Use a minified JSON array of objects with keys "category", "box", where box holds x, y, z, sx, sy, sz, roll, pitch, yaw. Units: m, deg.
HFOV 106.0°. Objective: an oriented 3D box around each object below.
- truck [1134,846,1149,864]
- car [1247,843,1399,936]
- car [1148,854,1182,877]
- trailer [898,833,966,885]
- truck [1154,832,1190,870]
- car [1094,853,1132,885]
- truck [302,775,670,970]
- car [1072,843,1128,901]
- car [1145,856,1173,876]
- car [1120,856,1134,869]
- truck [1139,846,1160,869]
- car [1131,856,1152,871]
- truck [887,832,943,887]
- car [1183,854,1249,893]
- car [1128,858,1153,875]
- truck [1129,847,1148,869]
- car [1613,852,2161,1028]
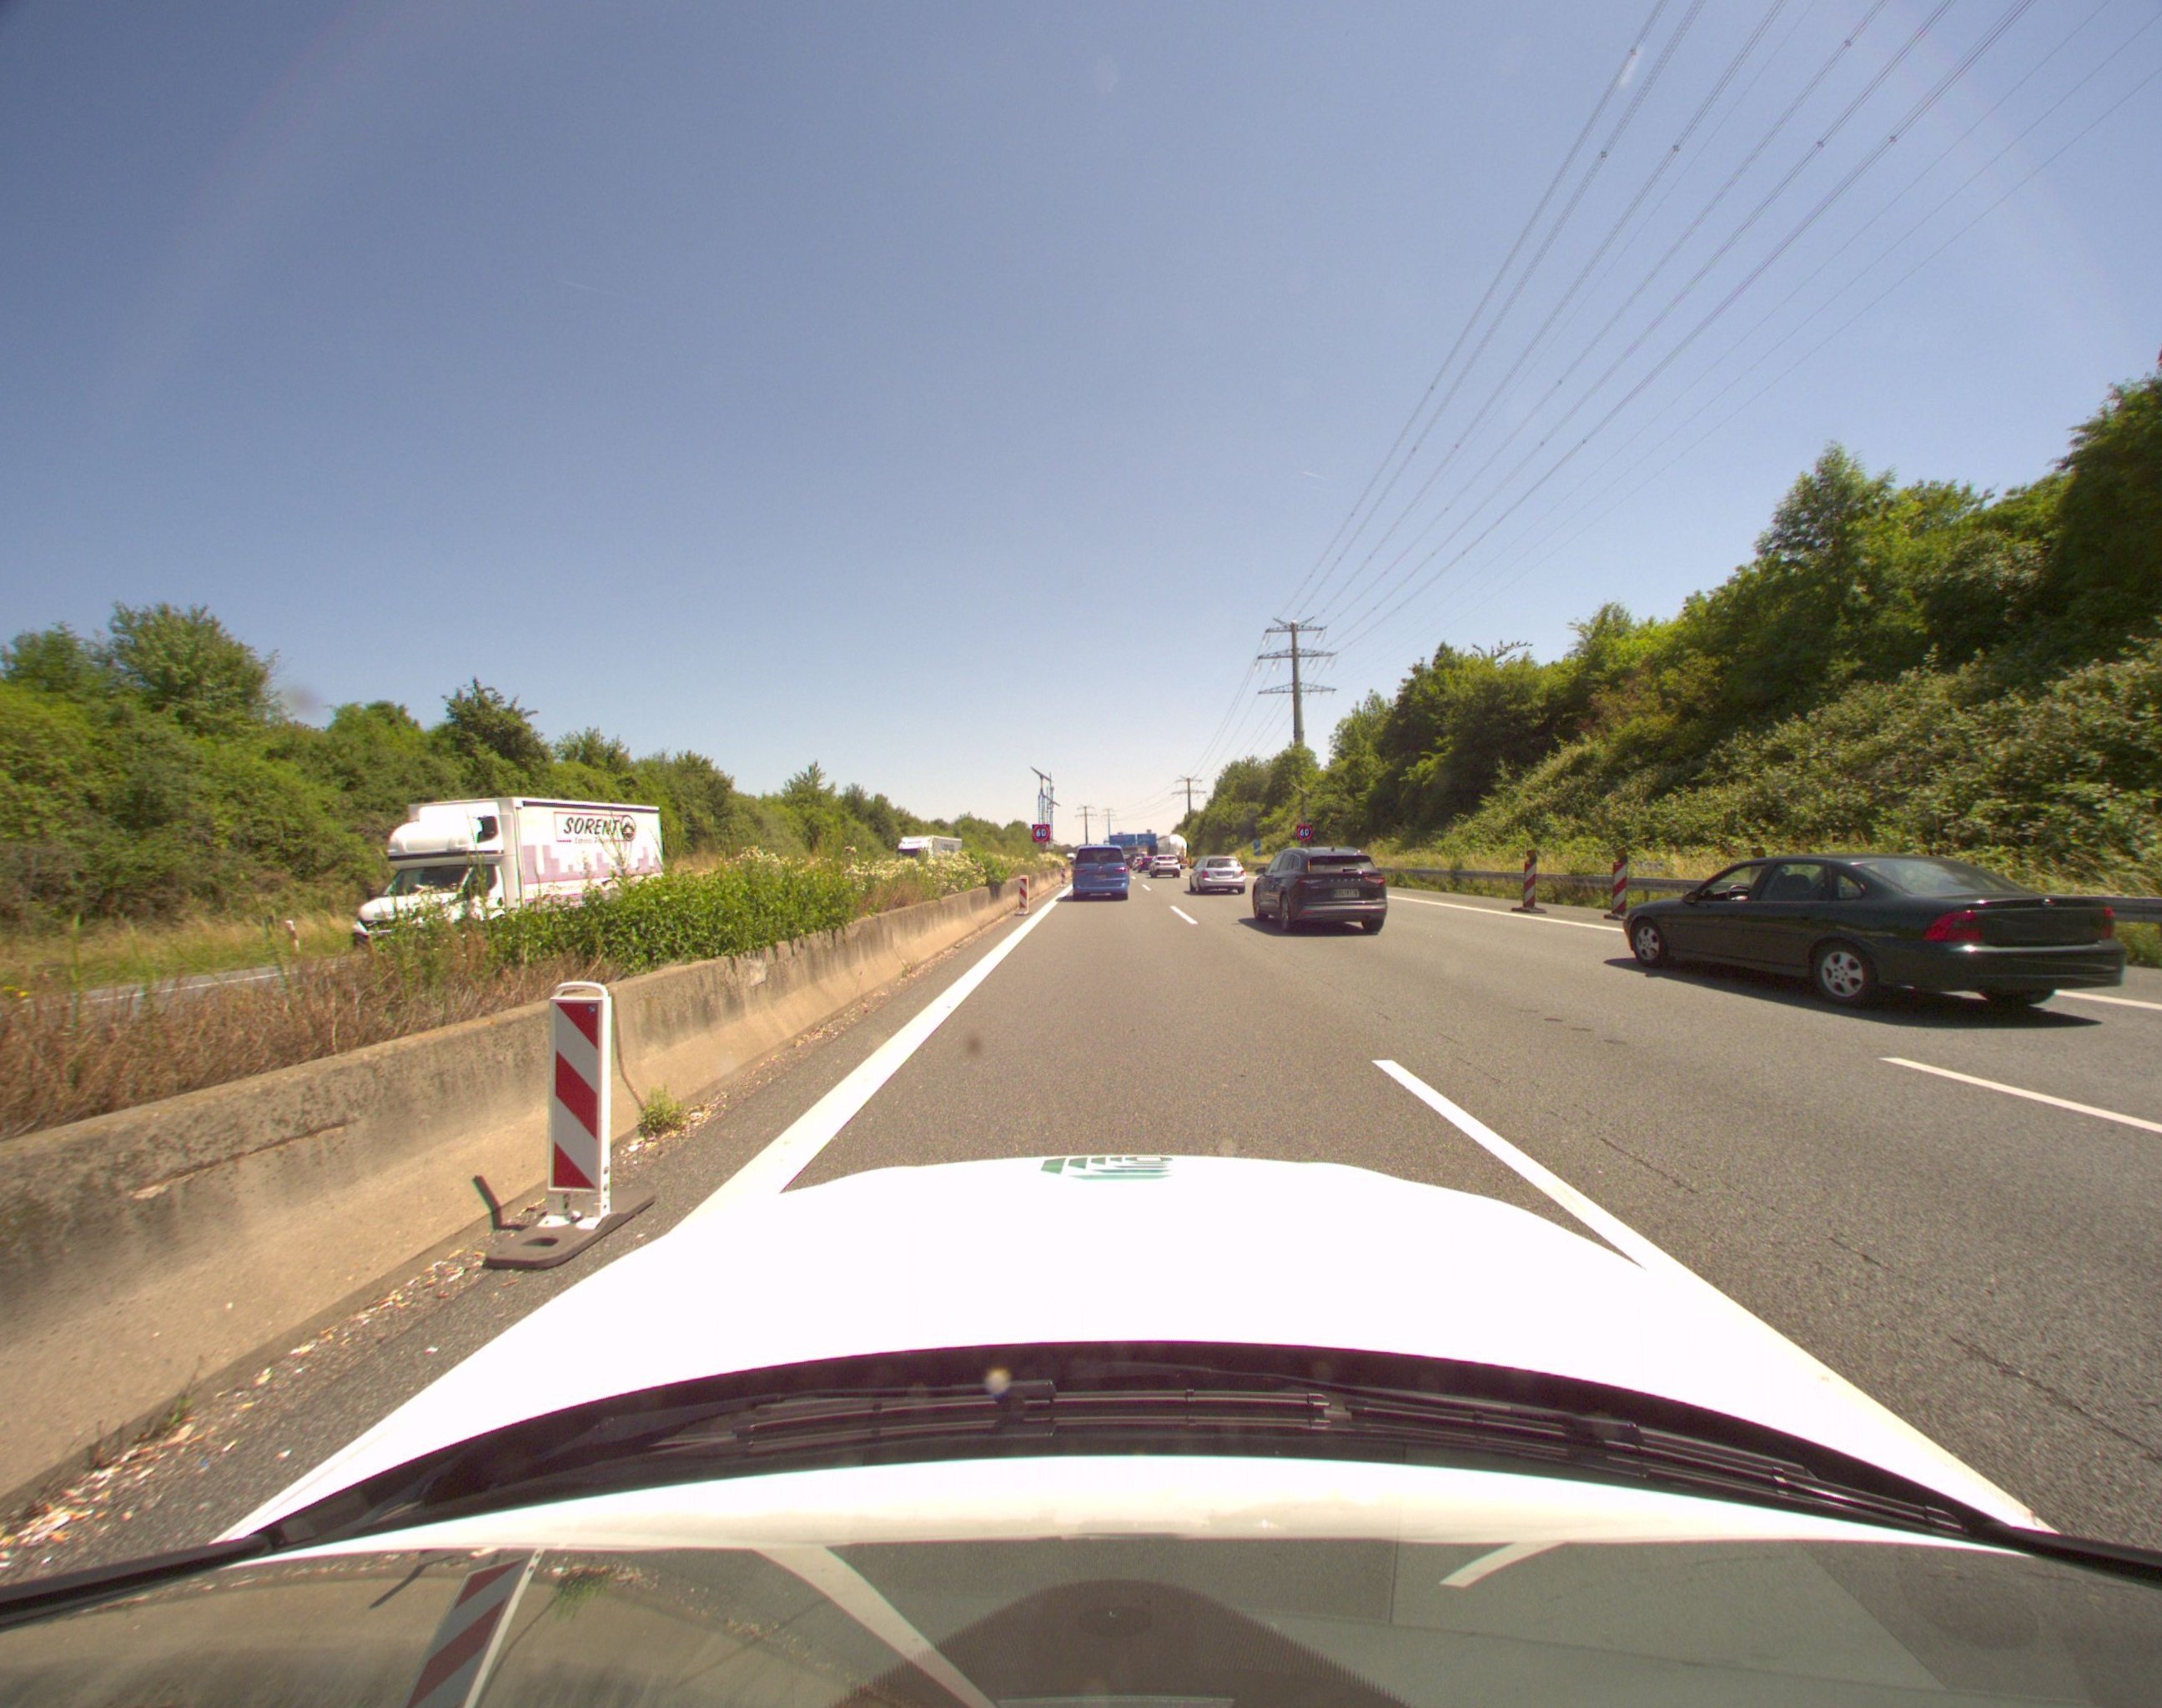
[{"category":"truck","box":[15.151,0.308,204.971,2.928,4.291,12.552,0,0,1]},{"category":"car","box":[4.726,0.627,16.587,1.822,1.614,4.431,-1,0,1]},{"category":"car","box":[5.641,0.780,55.362,1.902,1.508,3.920,0,0,0]},{"category":"trailer","box":[-13.606,0.456,75.817,3.006,4.166,14.024,-5,0,2]},{"category":"truck","box":[10.691,-0.273,97.410,2.635,4.072,16.441,0,0,1]},{"category":"car","box":[1.678,0.768,43.754,1.902,1.631,4.383,-1,0,0]},{"category":"truck","box":[-14.804,0.398,21.662,2.753,3.888,9.031,-5,0,1]},{"category":"car","box":[0.614,0.605,29.079,1.865,1.879,4.382,0,0,-1]},{"category":"car","box":[6.303,0.936,66.224,1.902,1.569,4.382,0,0,0]},{"category":"car","box":[7.089,1.337,125.324,1.987,2.014,4.000,0,0,1]},{"category":"truck","box":[11.210,0.585,134.603,2.635,3.539,12.552,0,0,1]},{"category":"car","box":[6.442,1.024,86.931,1.902,1.516,4.382,0,0,0]},{"category":"truck","box":[-13.801,0.416,68.035,3.006,4.166,5.807,-5,0,1]},{"category":"car","box":[5.187,0.721,31.789,1.815,1.437,4.382,0,0,0]},{"category":"car","box":[5.407,1.121,74.341,1.902,1.516,4.382,0,0,0]},{"category":"truck","box":[7.126,0.497,100.839,1.987,2.723,5.680,0,0,1]},{"category":"car","box":[7.833,0.685,8.555,1.728,1.378,4.302,0,0,1]}]
